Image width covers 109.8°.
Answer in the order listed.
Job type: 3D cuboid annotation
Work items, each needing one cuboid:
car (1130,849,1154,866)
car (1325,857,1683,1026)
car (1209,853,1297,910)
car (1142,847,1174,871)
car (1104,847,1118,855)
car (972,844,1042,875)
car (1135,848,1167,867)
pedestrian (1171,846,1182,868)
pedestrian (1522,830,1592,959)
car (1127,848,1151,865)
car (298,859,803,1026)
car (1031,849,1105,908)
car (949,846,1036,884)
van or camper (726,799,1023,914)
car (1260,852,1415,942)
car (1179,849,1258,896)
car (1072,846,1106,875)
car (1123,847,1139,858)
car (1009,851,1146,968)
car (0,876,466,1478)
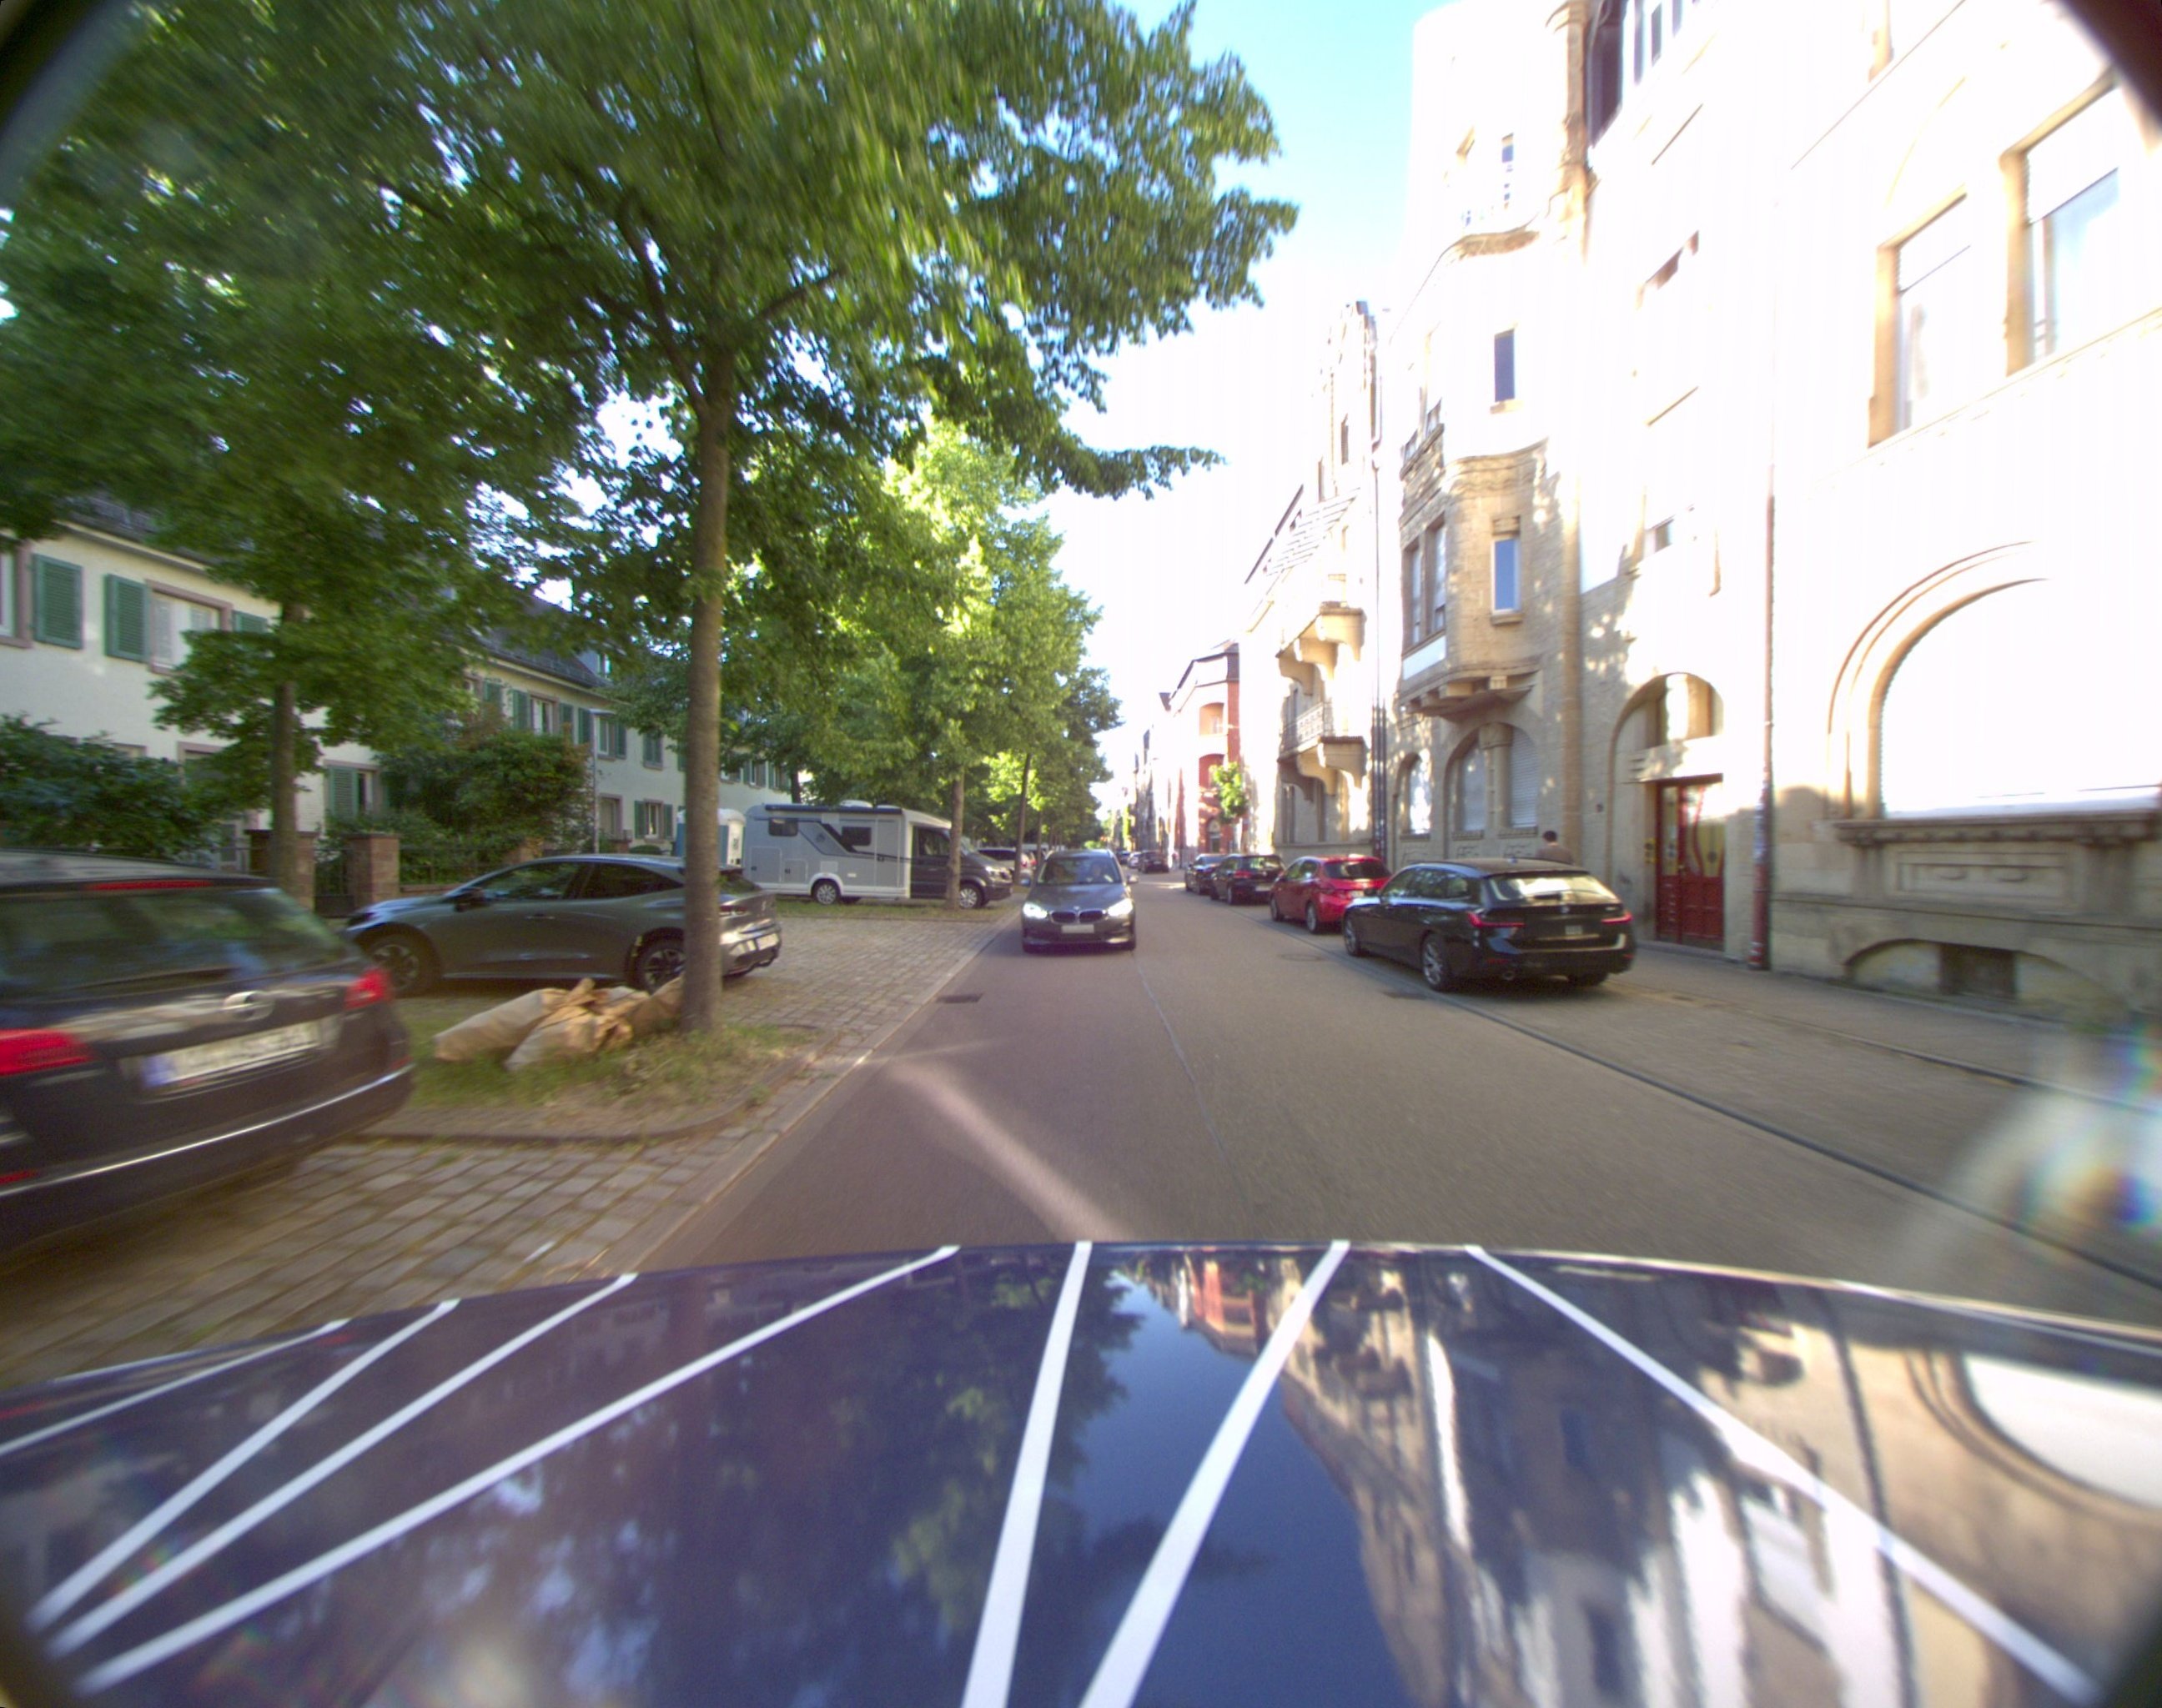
[{"bbox_3d":[5.635,0.270,70.629,1.922,1.510,3.999,0,1,0],"label":"car"},{"bbox_3d":[4.765,0.843,9.510,1.905,1.431,4.541,-4,1,0],"label":"car"},{"bbox_3d":[4.967,0.736,22.449,1.747,1.457,3.998,-2,1,2],"label":"car"},{"bbox_3d":[5.505,0.342,54.583,1.862,1.595,3.999,-2,1,0],"label":"car"},{"bbox_3d":[6.128,-0.591,155.466,2.000,1.529,3.997,-2,1,-8],"label":"car"},{"bbox_3d":[-4.597,0.308,47.618,3.994,1.871,2.001,0,1,9],"label":"car"},{"bbox_3d":[5.659,0.263,62.019,1.999,1.510,3.998,0,1,-4],"label":"car"},{"bbox_3d":[7.235,0.206,57.560,0.779,1.693,1.010,0,1,1],"label":"pedestrian"},{"bbox_3d":[6.971,0.581,11.147,0.695,1.837,0.497,-2,1,2],"label":"pedestrian"},{"bbox_3d":[5.686,0.245,74.844,1.998,1.515,3.999,-2,1,1],"label":"car"},{"bbox_3d":[-5.373,0.839,8.225,3.998,1.510,1.999,0,2,-3],"label":"car"},{"bbox_3d":[-0.309,0.669,23.444,1.998,1.510,4.651,-2,1,1],"label":"car"},{"bbox_3d":[-4.242,0.503,36.947,3.997,1.804,2.000,0,1,1],"label":"car"},{"bbox_3d":[-5.290,0.026,20.384,7.266,2.888,2.427,0,2,1],"label":"van or camper"},{"bbox_3d":[5.000,0.756,15.355,1.694,1.458,3.772,-4,1,-1],"label":"car"},{"bbox_3d":[4.976,0.615,28.106,1.893,1.448,4.510,-4,0,-1],"label":"car"},{"bbox_3d":[0.472,0.355,47.011,1.999,1.740,3.999,0,1,0],"label":"car"},{"bbox_3d":[5.941,-0.184,91.120,1.702,1.372,3.999,0,1,0],"label":"car"},{"bbox_3d":[-0.014,0.796,13.318,1.924,1.597,4.516,-3,1,1],"label":"car"},{"bbox_3d":[-5.077,0.846,2.649,4.468,1.469,1.753,2,1,2],"label":"car"}]
